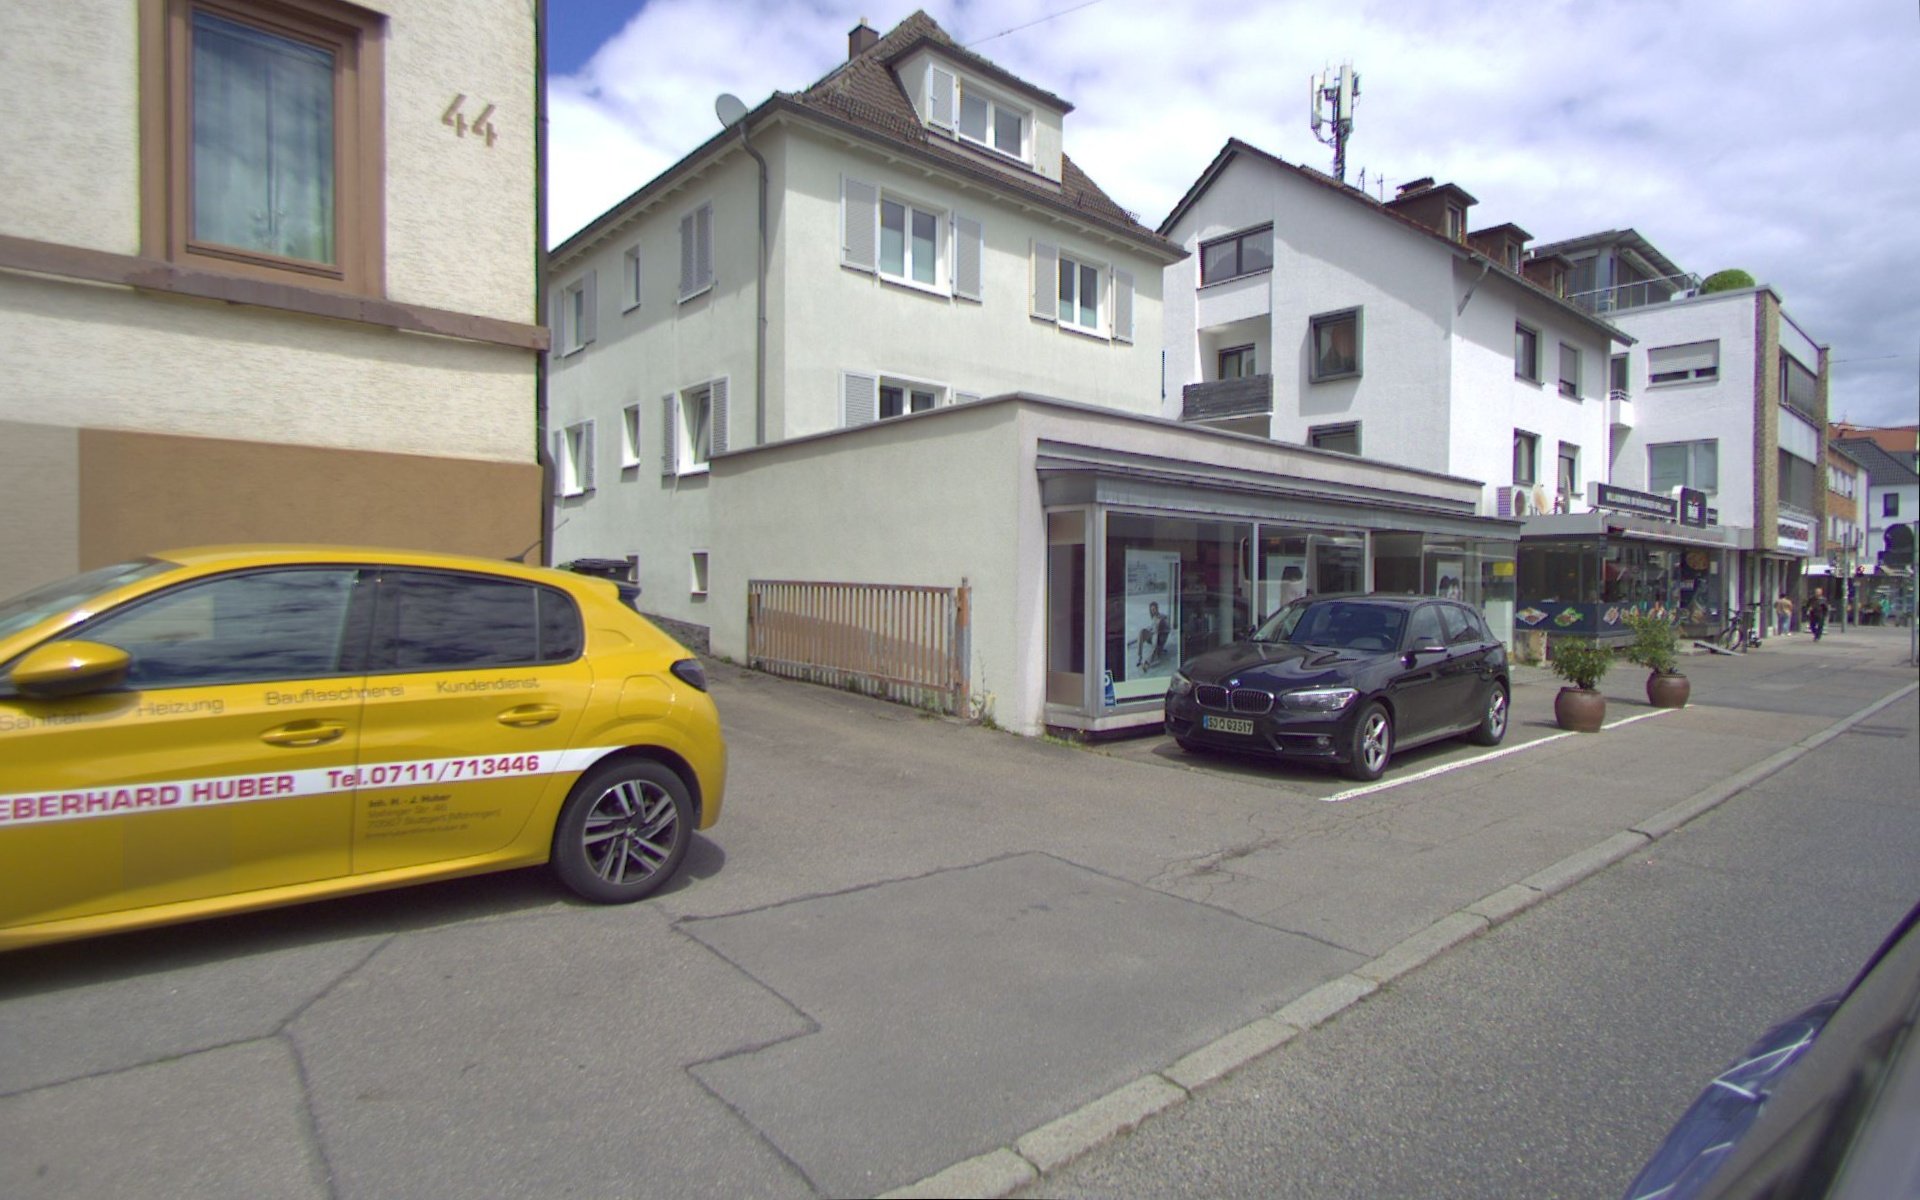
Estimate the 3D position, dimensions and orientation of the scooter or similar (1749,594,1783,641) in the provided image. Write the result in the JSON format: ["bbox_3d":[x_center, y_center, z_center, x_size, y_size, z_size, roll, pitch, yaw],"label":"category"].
[{"bbox_3d":[23.377,0.489,29.352,0.686,1.283,1.170,2,2,36],"label":"scooter or similar"}]

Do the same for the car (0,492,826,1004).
[{"bbox_3d":[-2.842,0.423,4.104,4.234,1.466,1.879,3,0,-44],"label":"car"}]

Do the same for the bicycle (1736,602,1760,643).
[{"bbox_3d":[21.436,0.597,27.514,0.474,1.041,1.613,2,1,39],"label":"bicycle"}]

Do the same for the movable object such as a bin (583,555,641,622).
[{"bbox_3d":[-5.927,-0.202,17.241,0.751,1.096,0.609,-1,3,-42],"label":"movable object such as a bin"}]

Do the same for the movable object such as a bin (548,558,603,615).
[{"bbox_3d":[-6.862,-0.249,18.062,0.751,0.982,0.609,-1,3,-42],"label":"movable object such as a bin"}]

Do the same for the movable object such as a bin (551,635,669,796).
[{"bbox_3d":[-2.257,0.716,6.521,0.587,0.936,0.502,0,1,-38],"label":"movable object such as a bin"}]

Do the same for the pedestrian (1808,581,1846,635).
[{"bbox_3d":[27.799,0.246,32.467,0.793,1.691,0.796,0,1,-42],"label":"pedestrian"}]

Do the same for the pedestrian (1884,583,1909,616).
[{"bbox_3d":[45.182,-0.035,48.818,0.804,1.545,0.779,0,1,-39],"label":"pedestrian"}]

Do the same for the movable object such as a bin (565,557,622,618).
[{"bbox_3d":[-6.392,-0.226,17.653,0.751,1.031,0.609,-1,3,-42],"label":"movable object such as a bin"}]

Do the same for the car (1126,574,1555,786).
[{"bbox_3d":[3.683,0.530,9.337,4.460,1.465,1.970,0,2,-44],"label":"car"}]

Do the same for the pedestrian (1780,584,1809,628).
[{"bbox_3d":[29.629,0.201,35.925,0.707,1.517,0.680,0,1,-42],"label":"pedestrian"}]
